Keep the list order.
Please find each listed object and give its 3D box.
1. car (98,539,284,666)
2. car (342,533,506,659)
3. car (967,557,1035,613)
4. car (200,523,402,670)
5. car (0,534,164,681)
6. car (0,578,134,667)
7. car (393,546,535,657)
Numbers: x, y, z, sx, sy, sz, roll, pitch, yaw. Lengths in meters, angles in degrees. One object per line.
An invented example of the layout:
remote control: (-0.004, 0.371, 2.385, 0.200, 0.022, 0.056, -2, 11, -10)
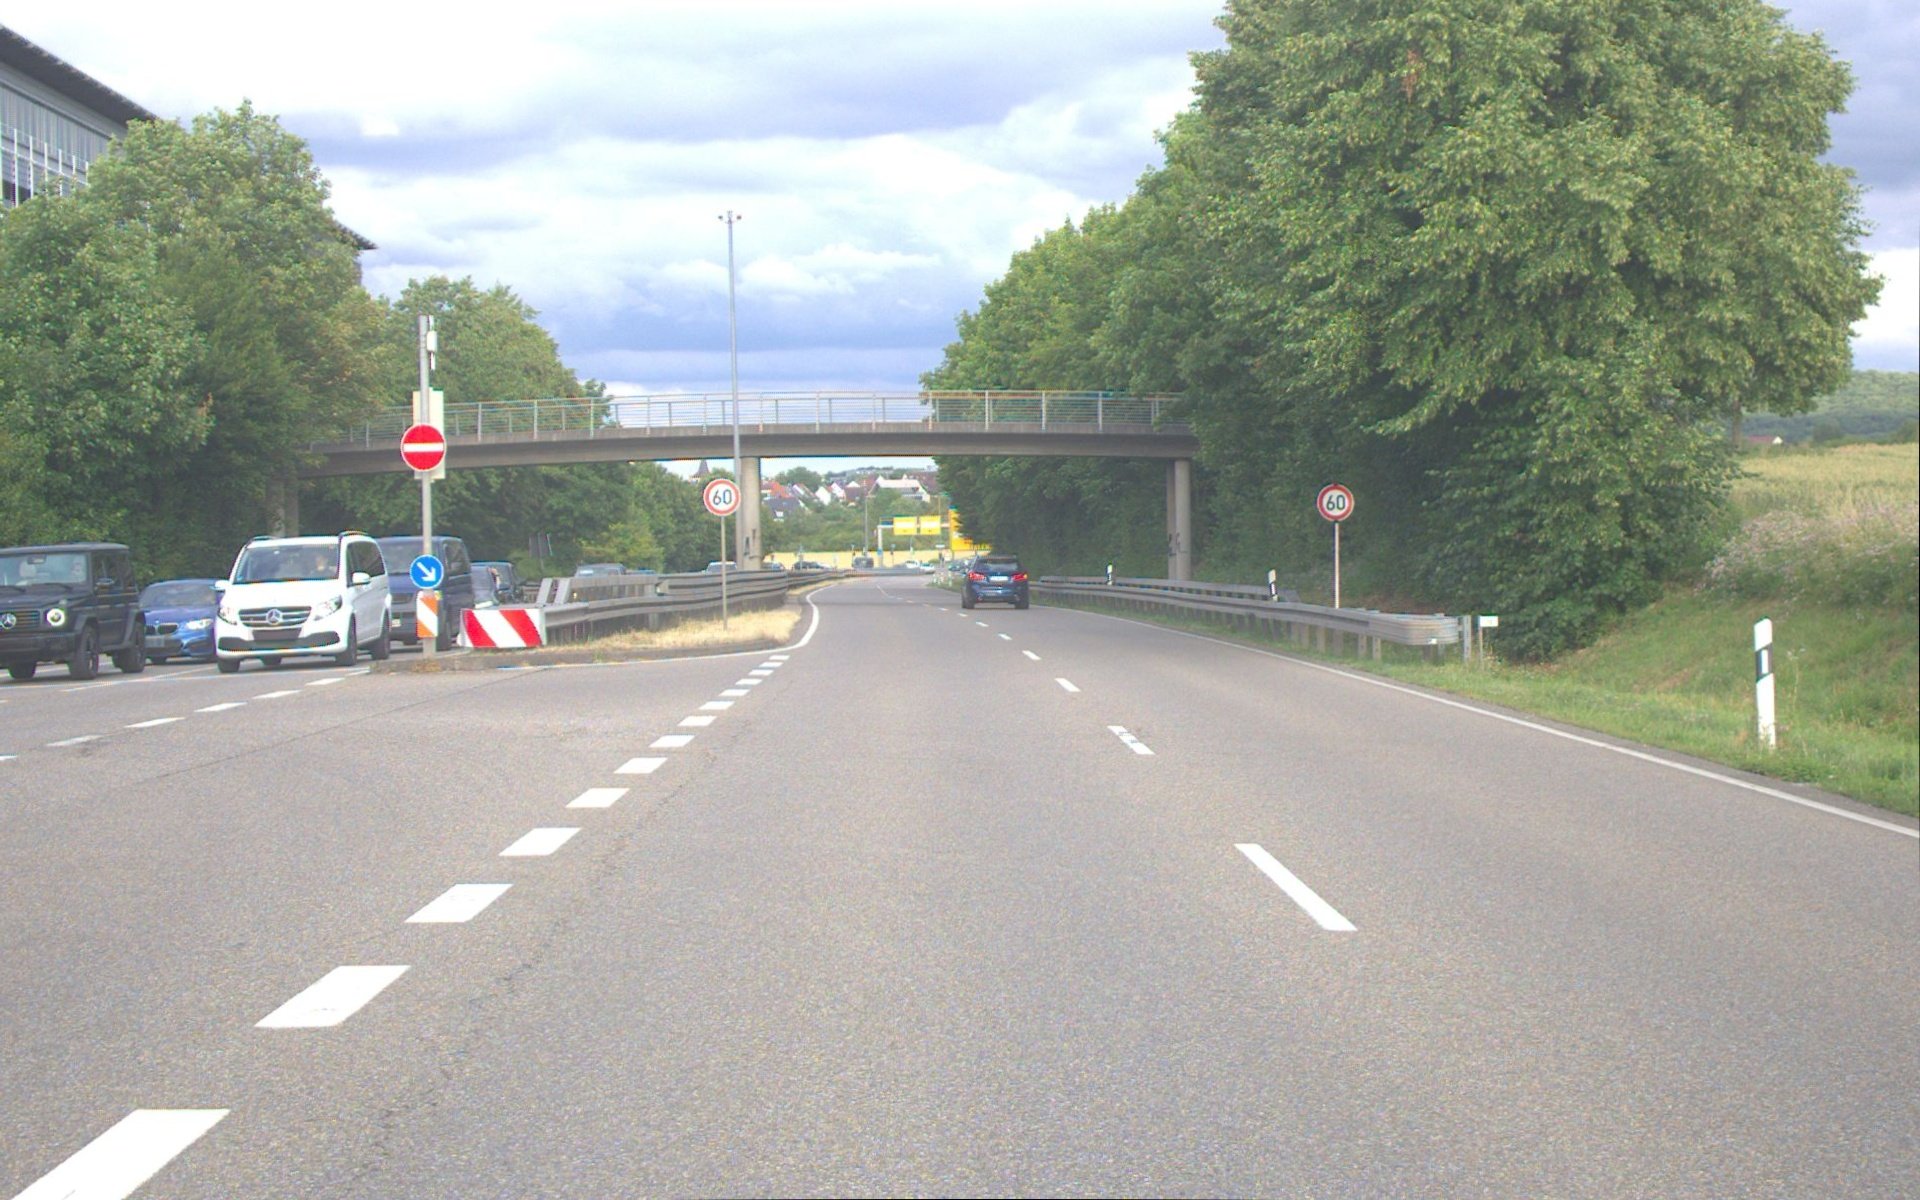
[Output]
car: (-12.815, 0.016, 57.585, 2.083, 2.007, 5.217, 1, 0, -2)
car: (-8.972, -0.088, 57.935, 2.083, 2.007, 5.217, 1, 0, -2)
car: (1.160, -0.434, 99.464, 1.879, 1.547, 4.000, 1, 0, 0)
car: (-9.541, -0.074, 50.197, 2.083, 2.007, 5.217, 1, 0, -2)
car: (-13.175, 0.074, 50.083, 2.083, 2.007, 5.217, 1, 0, -2)
car: (-16.275, 0.423, 60.018, 1.583, 1.337, 3.746, -4, 1, 24)
car: (-9.401, 0.006, 65.502, 2.083, 2.007, 5.217, 1, 0, -2)
